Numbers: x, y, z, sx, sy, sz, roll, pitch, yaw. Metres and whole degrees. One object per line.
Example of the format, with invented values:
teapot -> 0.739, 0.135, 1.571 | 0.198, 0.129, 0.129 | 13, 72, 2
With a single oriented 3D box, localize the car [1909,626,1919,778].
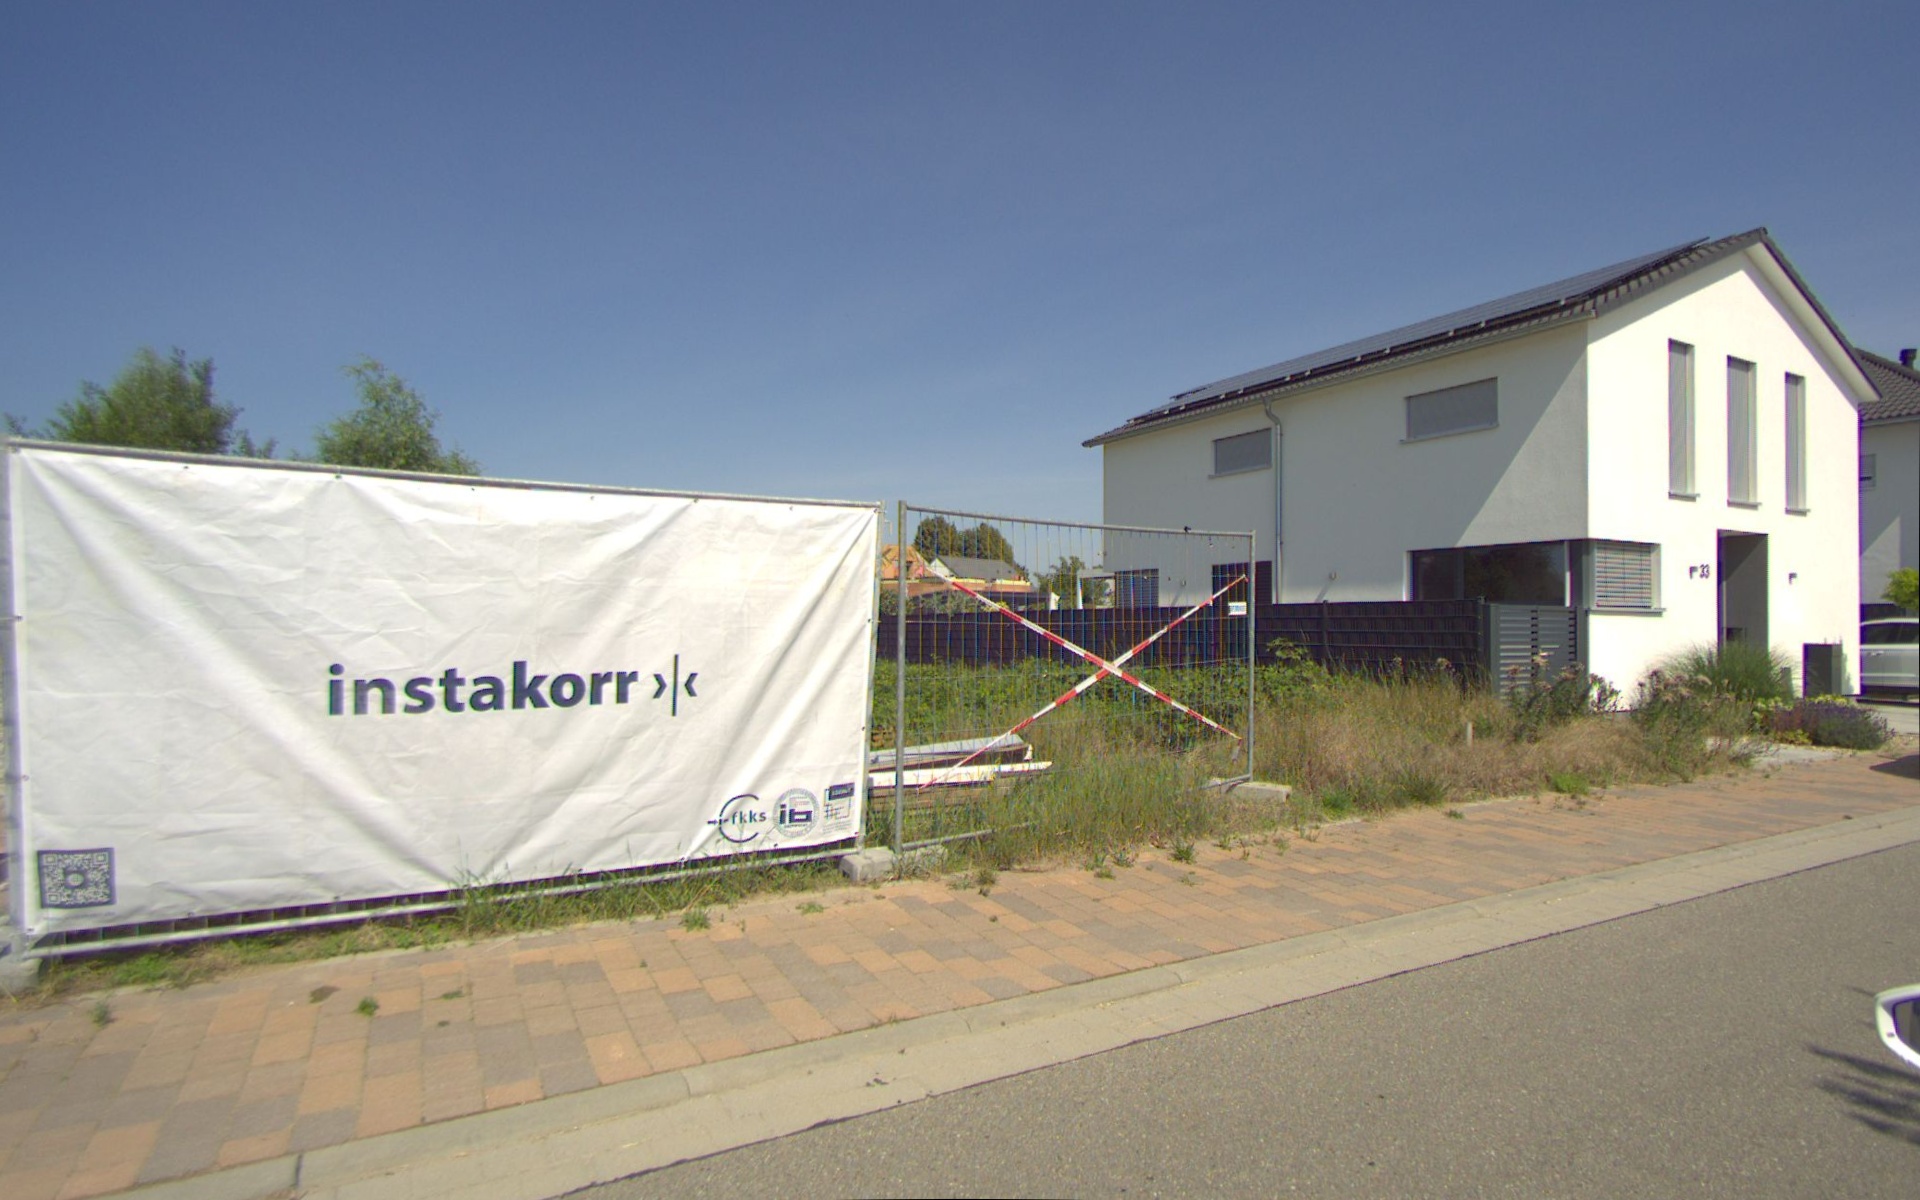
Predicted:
car -> 11.180, 1.012, 9.772 | 4.111, 1.424, 1.737 | 1, 1, -30

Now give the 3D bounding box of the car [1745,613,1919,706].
car -> 17.649, 1.091, 19.027 | 1.759, 1.602, 4.058 | 0, 0, -23
